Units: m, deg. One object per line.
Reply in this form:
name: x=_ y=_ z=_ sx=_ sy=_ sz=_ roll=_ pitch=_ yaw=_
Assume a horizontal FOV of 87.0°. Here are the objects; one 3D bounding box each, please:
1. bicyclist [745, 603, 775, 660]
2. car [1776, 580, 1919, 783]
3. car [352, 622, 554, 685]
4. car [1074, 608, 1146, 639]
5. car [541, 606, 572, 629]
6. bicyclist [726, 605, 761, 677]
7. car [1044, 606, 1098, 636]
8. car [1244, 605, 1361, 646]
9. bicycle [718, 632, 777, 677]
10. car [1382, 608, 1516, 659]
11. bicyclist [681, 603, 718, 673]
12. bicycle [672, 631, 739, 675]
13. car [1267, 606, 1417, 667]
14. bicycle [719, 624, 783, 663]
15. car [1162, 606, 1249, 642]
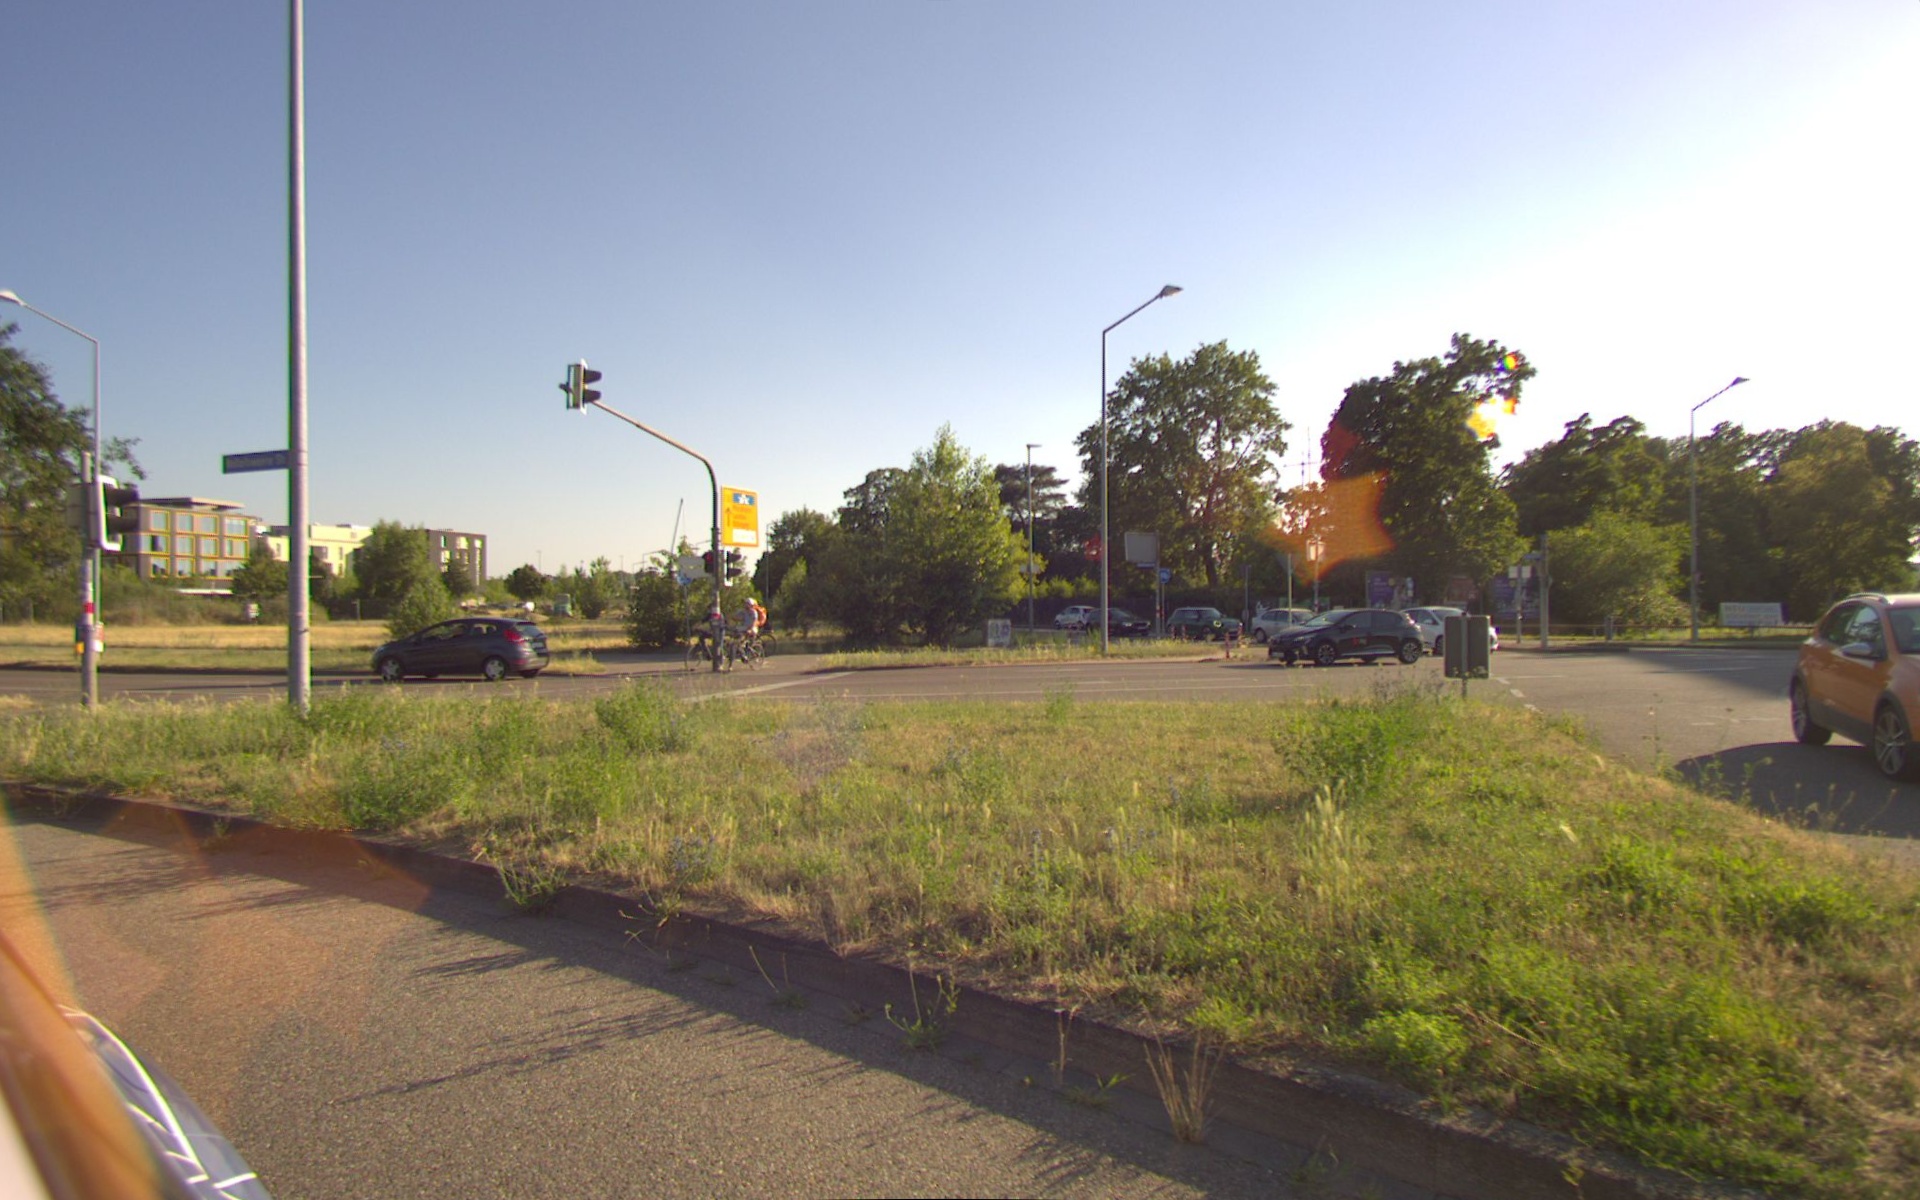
bicyclist: x=-6.015 y=0.934 z=30.396 sx=0.817 sy=1.679 sz=0.712 roll=0 pitch=-1 yaw=-17
car: x=8.476 y=0.594 z=8.312 sx=1.900 sy=1.455 sz=4.101 roll=-1 pitch=-1 yaw=27
car: x=-11.670 y=1.229 z=23.451 sx=3.899 sy=1.386 sz=1.671 roll=-1 pitch=-2 yaw=3
car: x=7.578 y=1.183 z=51.462 sx=1.843 sy=1.519 sz=3.721 roll=0 pitch=-1 yaw=-26
car: x=-36.618 y=1.606 z=91.853 sx=1.967 sy=2.029 sz=3.890 roll=0 pitch=-1 yaw=-12
bicyclist: x=-5.532 y=1.029 z=25.877 sx=0.493 sy=1.802 sz=0.809 roll=0 pitch=1 yaw=24
car: x=7.188 y=1.349 z=65.851 sx=1.576 sy=1.874 sz=4.013 roll=0 pitch=-1 yaw=-27
car: x=13.462 y=1.001 z=40.035 sx=1.843 sy=1.519 sz=4.322 roll=0 pitch=-1 yaw=-26
bicycle: x=-5.449 y=1.386 z=26.071 sx=0.501 sy=1.027 sz=1.899 roll=0 pitch=1 yaw=23
car: x=15.540 y=1.031 z=32.405 sx=1.818 sy=1.519 sz=3.985 roll=0 pitch=-1 yaw=-11
bicyclist: x=-6.795 y=0.979 z=26.412 sx=0.494 sy=1.784 sz=0.807 roll=0 pitch=1 yaw=31
bicycle: x=-6.666 y=1.374 z=26.629 sx=0.503 sy=1.027 sz=1.894 roll=0 pitch=1 yaw=31
car: x=9.733 y=0.901 z=25.797 sx=3.402 sy=1.464 sz=1.514 roll=0 pitch=-1 yaw=-21
bicycle: x=-6.263 y=1.286 z=30.304 sx=1.792 sy=1.127 sz=0.728 roll=0 pitch=-1 yaw=-17
car: x=11.019 y=1.067 z=45.667 sx=1.843 sy=1.519 sz=3.721 roll=0 pitch=-1 yaw=-26
